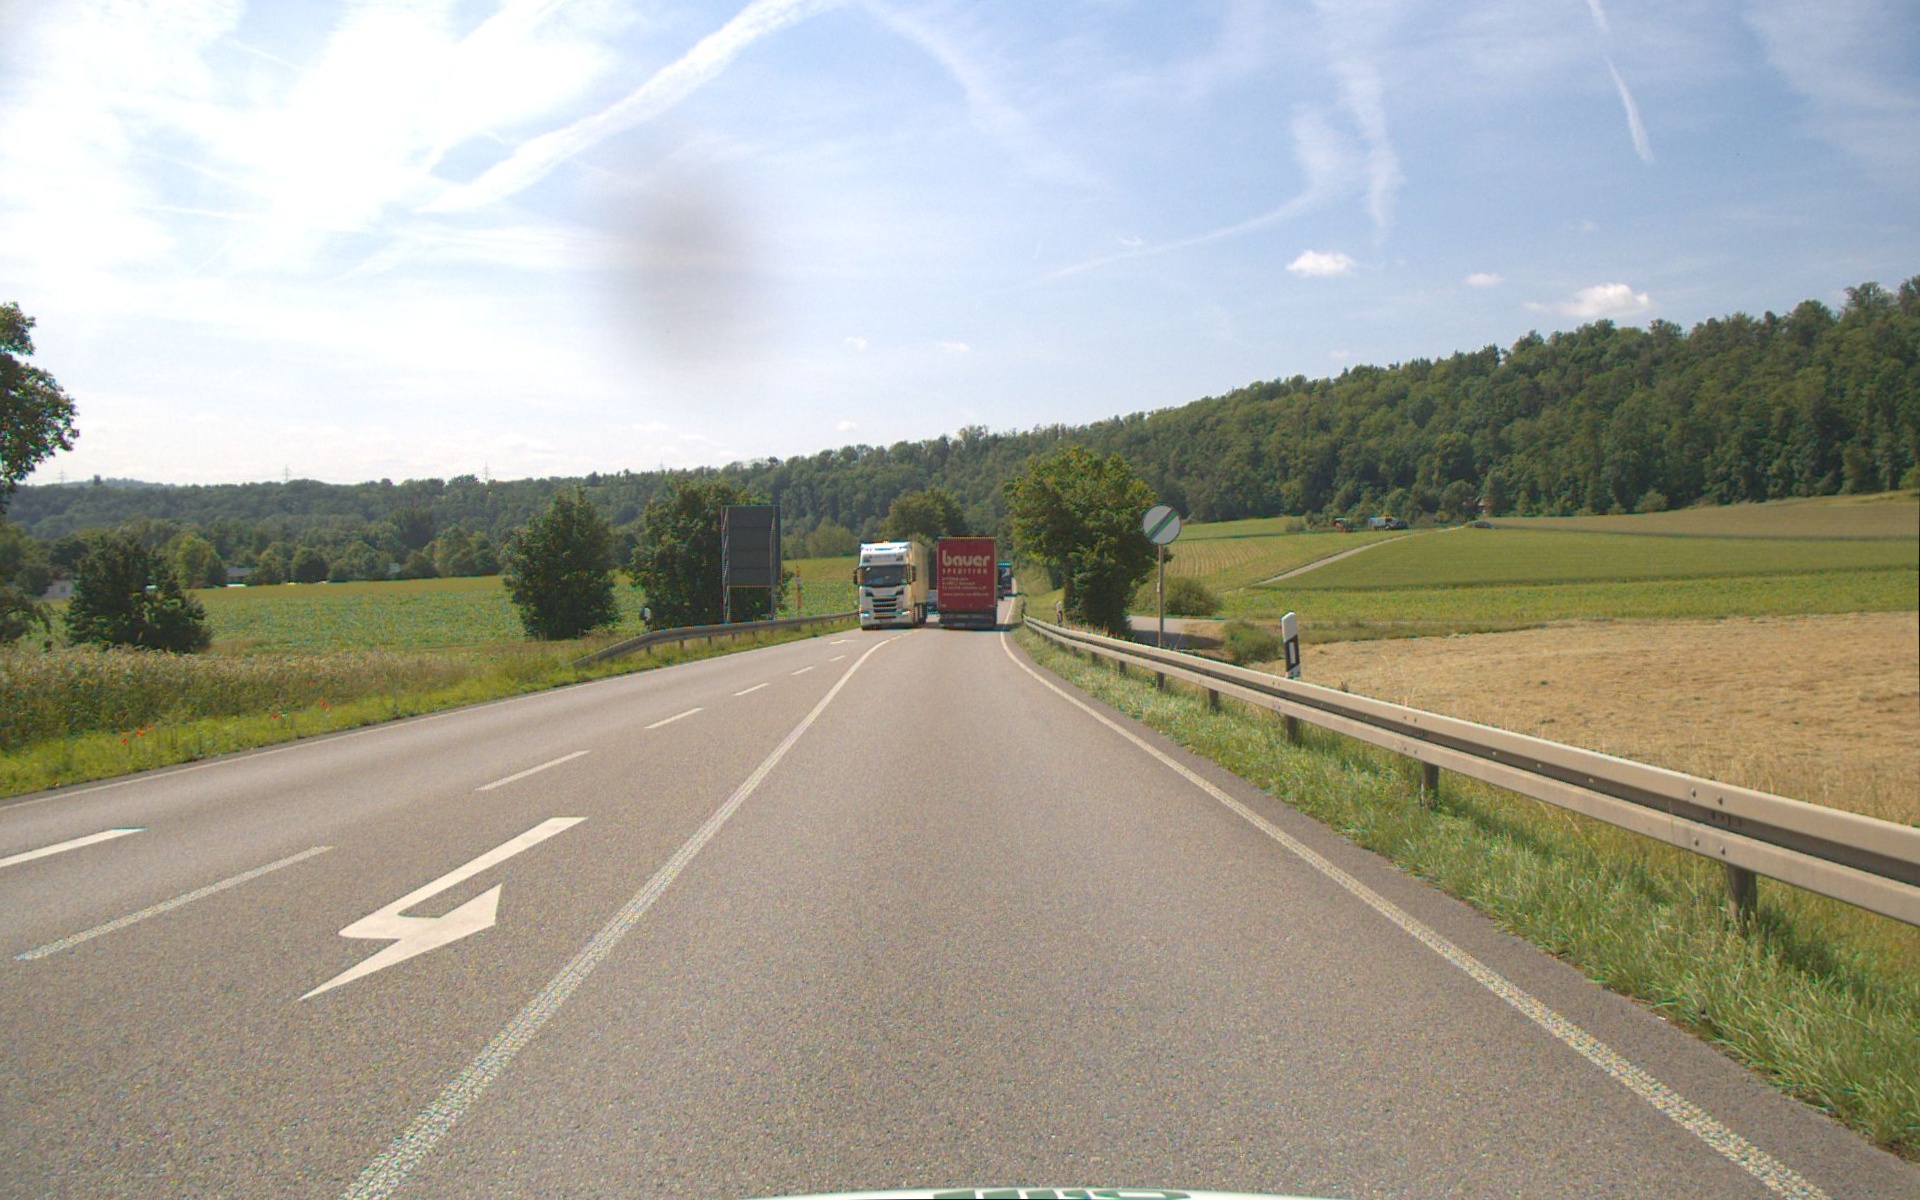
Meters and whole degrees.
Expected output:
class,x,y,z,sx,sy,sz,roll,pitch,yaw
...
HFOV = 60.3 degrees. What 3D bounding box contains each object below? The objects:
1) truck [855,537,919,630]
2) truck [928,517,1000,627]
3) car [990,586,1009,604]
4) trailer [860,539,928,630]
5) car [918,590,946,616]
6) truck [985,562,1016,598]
class,x,y,z,sx,sy,sz,roll,pitch,yaw
truck,-3.422,-0.746,78.526,2.478,4.192,6.022,-2,0,2
truck,0.190,-1.271,77.981,3.107,4.706,13.543,0,1,0
car,4.443,-0.564,186.032,1.953,1.841,4.000,3,0,0
trailer,-3.245,-0.714,85.039,2.455,4.191,13.901,-2,0,1
car,-2.048,0.197,121.714,1.791,1.752,4.364,-3,0,1
truck,5.245,-2.568,216.765,3.824,4.446,13.294,2,0,1
